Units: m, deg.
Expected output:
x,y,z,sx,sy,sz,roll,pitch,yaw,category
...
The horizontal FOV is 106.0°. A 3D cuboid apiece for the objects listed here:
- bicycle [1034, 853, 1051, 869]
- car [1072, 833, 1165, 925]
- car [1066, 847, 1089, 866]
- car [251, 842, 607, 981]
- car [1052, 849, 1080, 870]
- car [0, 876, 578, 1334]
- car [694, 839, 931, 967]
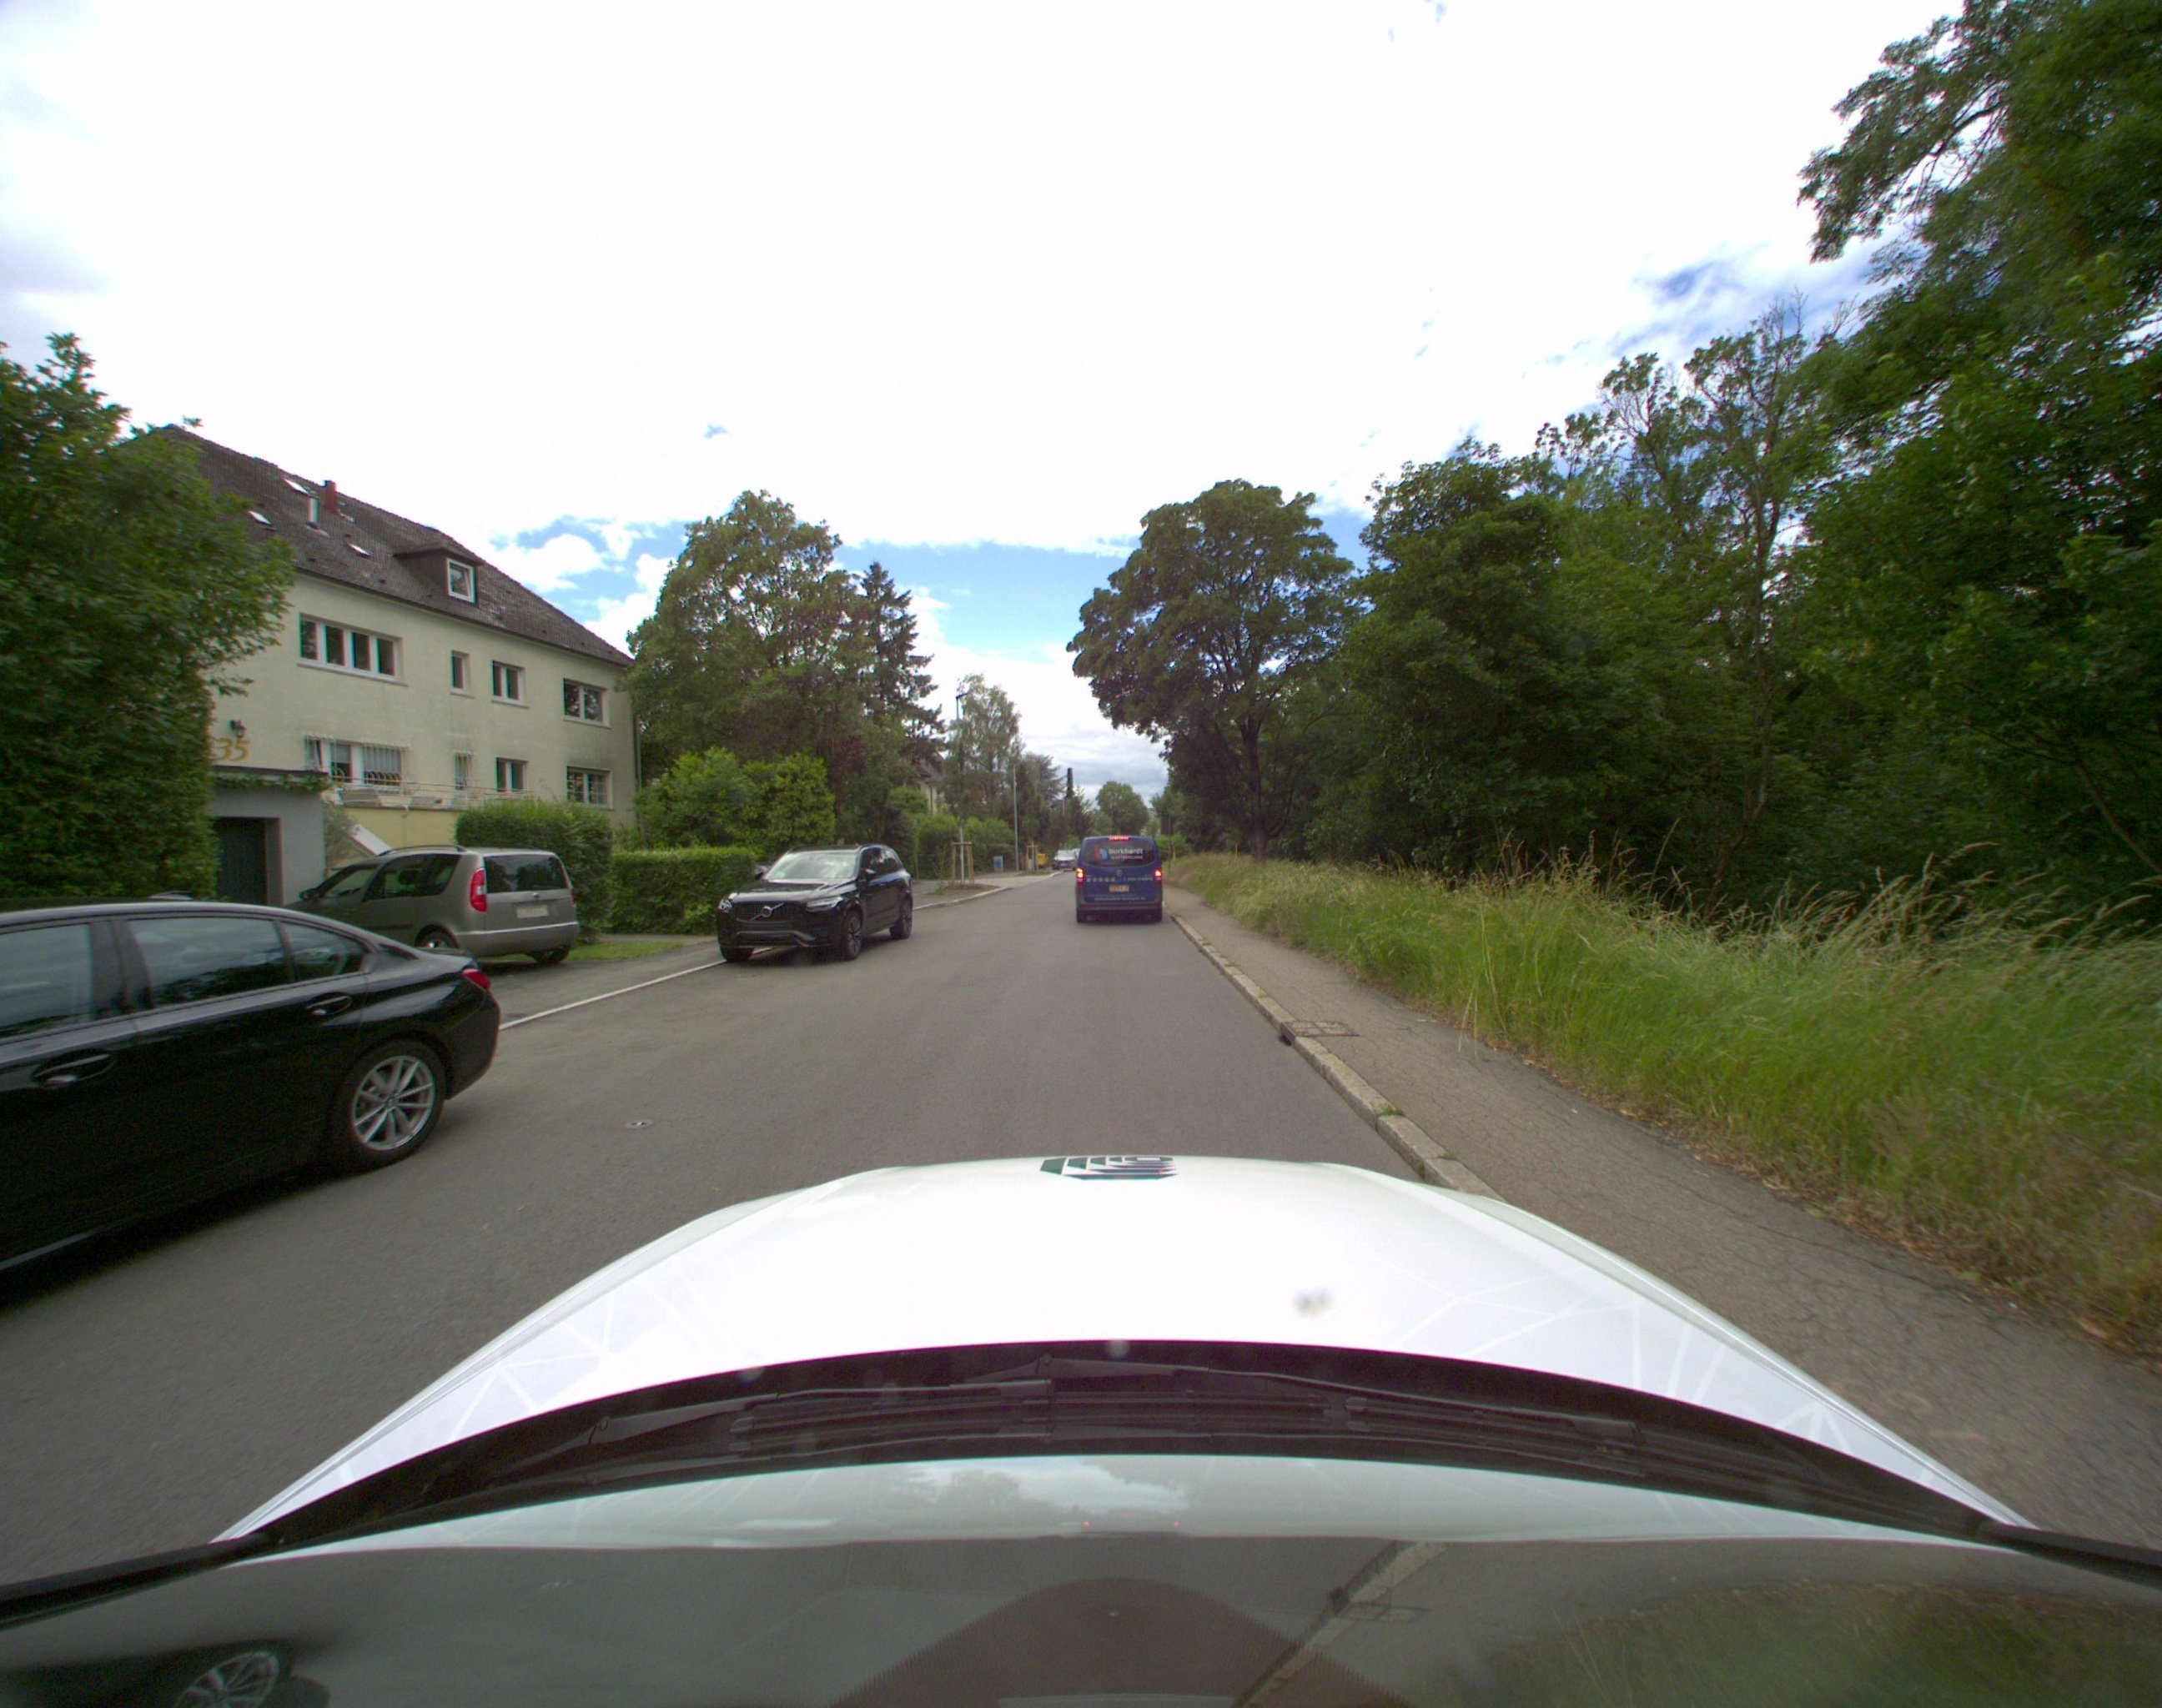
x,y,z,sx,sy,sz,roll,pitch,yaw,category
-2.928,0.518,62.151,0.902,1.252,2.919,1,0,4,bicycle
0.786,0.458,18.783,1.882,1.843,4.000,-1,2,0,car
-0.301,0.242,77.882,1.823,1.751,4.005,0,1,4,car
-8.654,0.695,10.931,3.665,1.637,1.835,-1,0,14,car
-1.144,0.387,64.993,1.827,1.631,4.306,0,0,4,car
-4.407,0.879,3.036,1.746,1.412,4.903,-1,0,4,car
-4.169,0.662,13.761,1.966,1.737,5.195,-1,0,4,car
